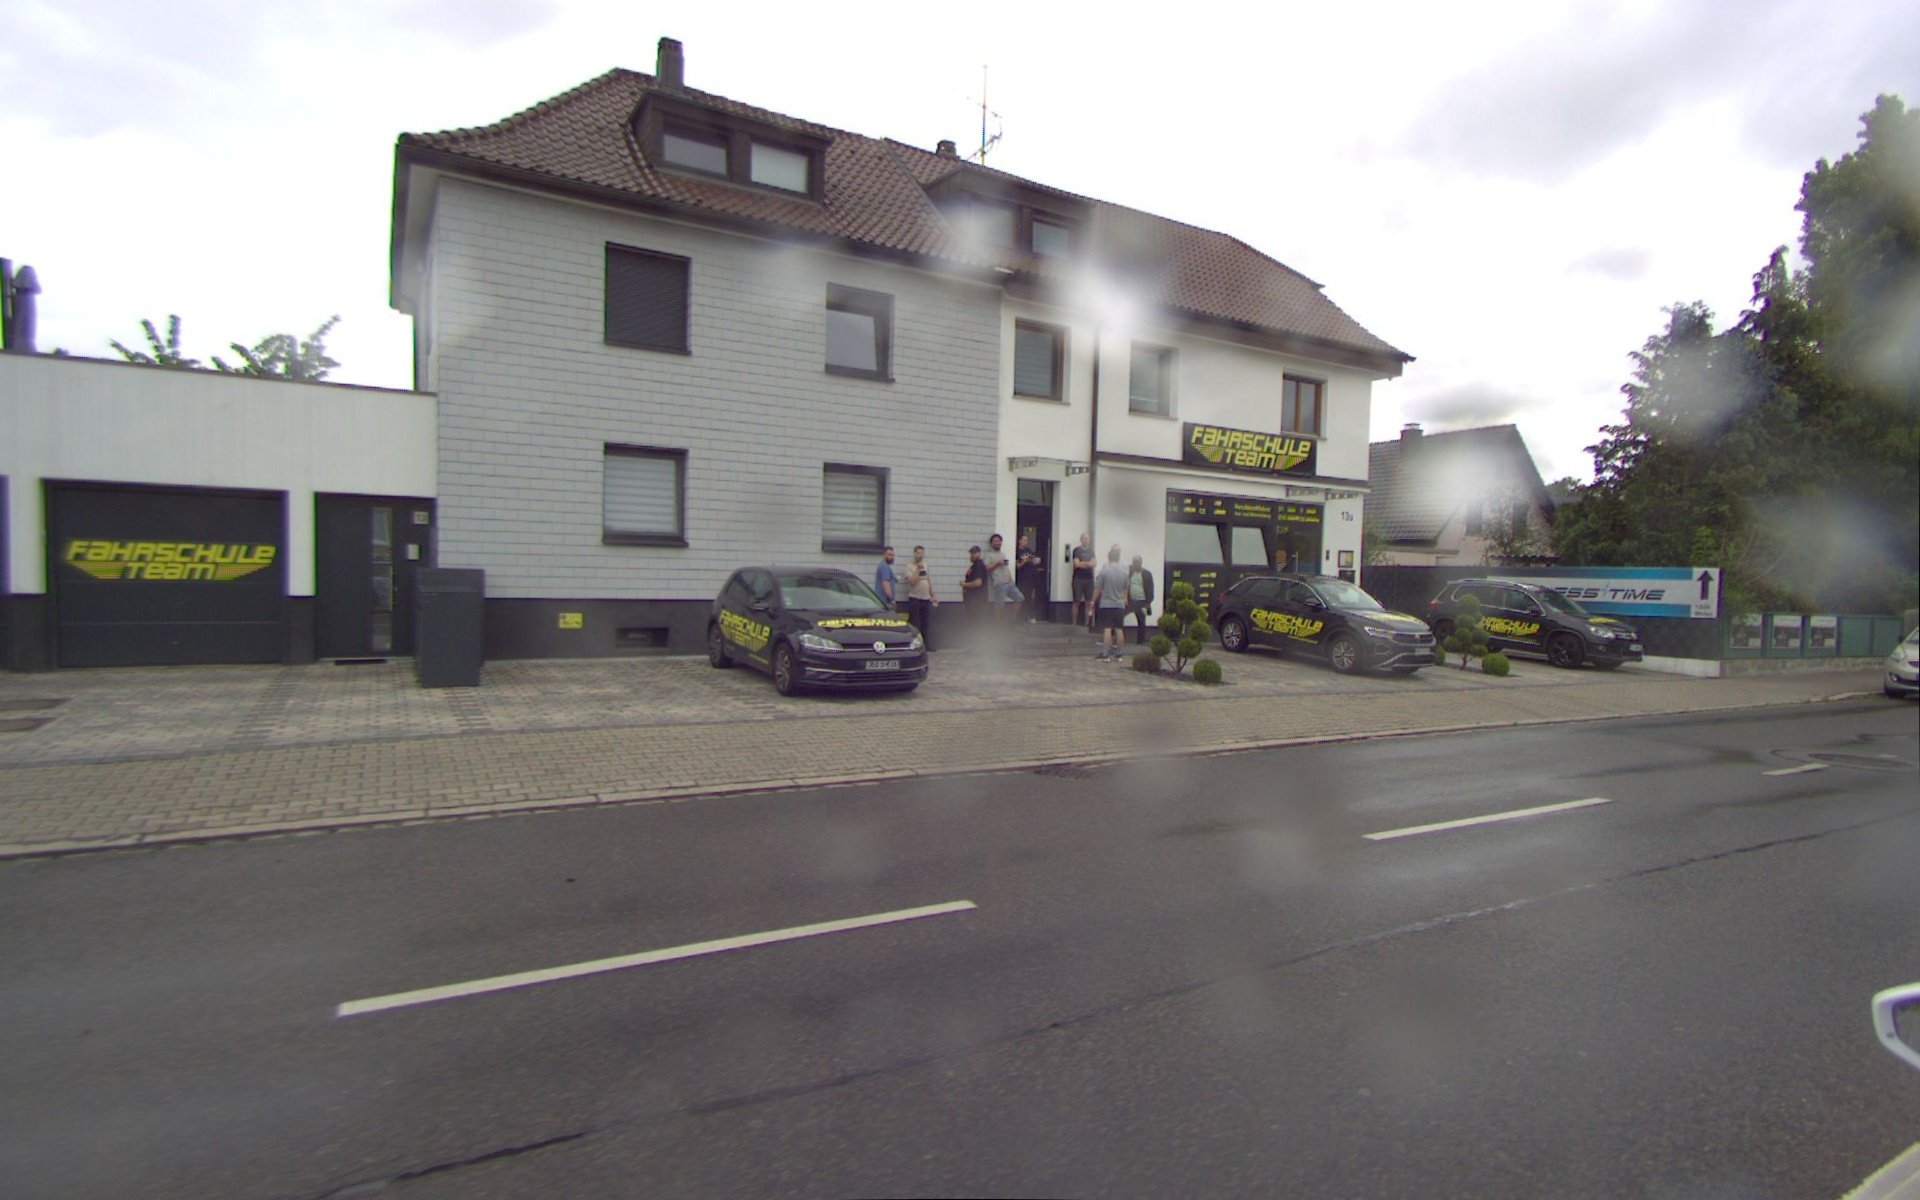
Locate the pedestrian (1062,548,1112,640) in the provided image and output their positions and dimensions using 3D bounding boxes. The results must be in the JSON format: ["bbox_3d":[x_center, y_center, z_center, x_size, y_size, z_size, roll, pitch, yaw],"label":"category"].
[{"bbox_3d":[2.373,-0.116,18.802,0.641,1.688,0.598,1,4,-25],"label":"pedestrian"}]

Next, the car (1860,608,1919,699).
[{"bbox_3d":[18.885,1.005,18.819,3.953,1.606,1.875,1,1,-30],"label":"car"}]

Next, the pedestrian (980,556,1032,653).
[{"bbox_3d":[0.816,0.078,17.985,0.641,1.688,0.598,1,4,-25],"label":"pedestrian"}]

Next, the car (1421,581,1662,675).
[{"bbox_3d":[12.397,0.535,21.699,1.834,1.536,4.052,1,5,-30],"label":"car"}]

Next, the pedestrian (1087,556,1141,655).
[{"bbox_3d":[2.725,0.092,17.792,0.640,1.688,0.599,1,4,-22],"label":"pedestrian"}]

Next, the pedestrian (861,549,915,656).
[{"bbox_3d":[-1.173,0.036,16.342,0.641,1.688,0.598,1,4,-25],"label":"pedestrian"}]

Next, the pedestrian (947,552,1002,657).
[{"bbox_3d":[0.234,0.074,16.691,0.641,1.688,0.598,1,4,-25],"label":"pedestrian"}]

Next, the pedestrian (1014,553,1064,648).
[{"bbox_3d":[1.447,0.004,18.431,0.641,1.688,0.598,1,4,-25],"label":"pedestrian"}]

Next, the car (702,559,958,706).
[{"bbox_3d":[-1.840,0.294,12.945,1.834,1.536,4.052,1,2,-30],"label":"car"}]

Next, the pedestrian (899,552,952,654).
[{"bbox_3d":[-0.593,0.045,17.119,0.641,1.688,0.598,1,4,-25],"label":"pedestrian"}]

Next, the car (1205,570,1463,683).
[{"bbox_3d":[6.564,0.391,18.097,1.834,1.536,4.052,1,5,-30],"label":"car"}]

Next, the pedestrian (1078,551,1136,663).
[{"bbox_3d":[2.451,0.108,16.742,0.643,1.815,0.596,0,4,-35],"label":"pedestrian"}]
